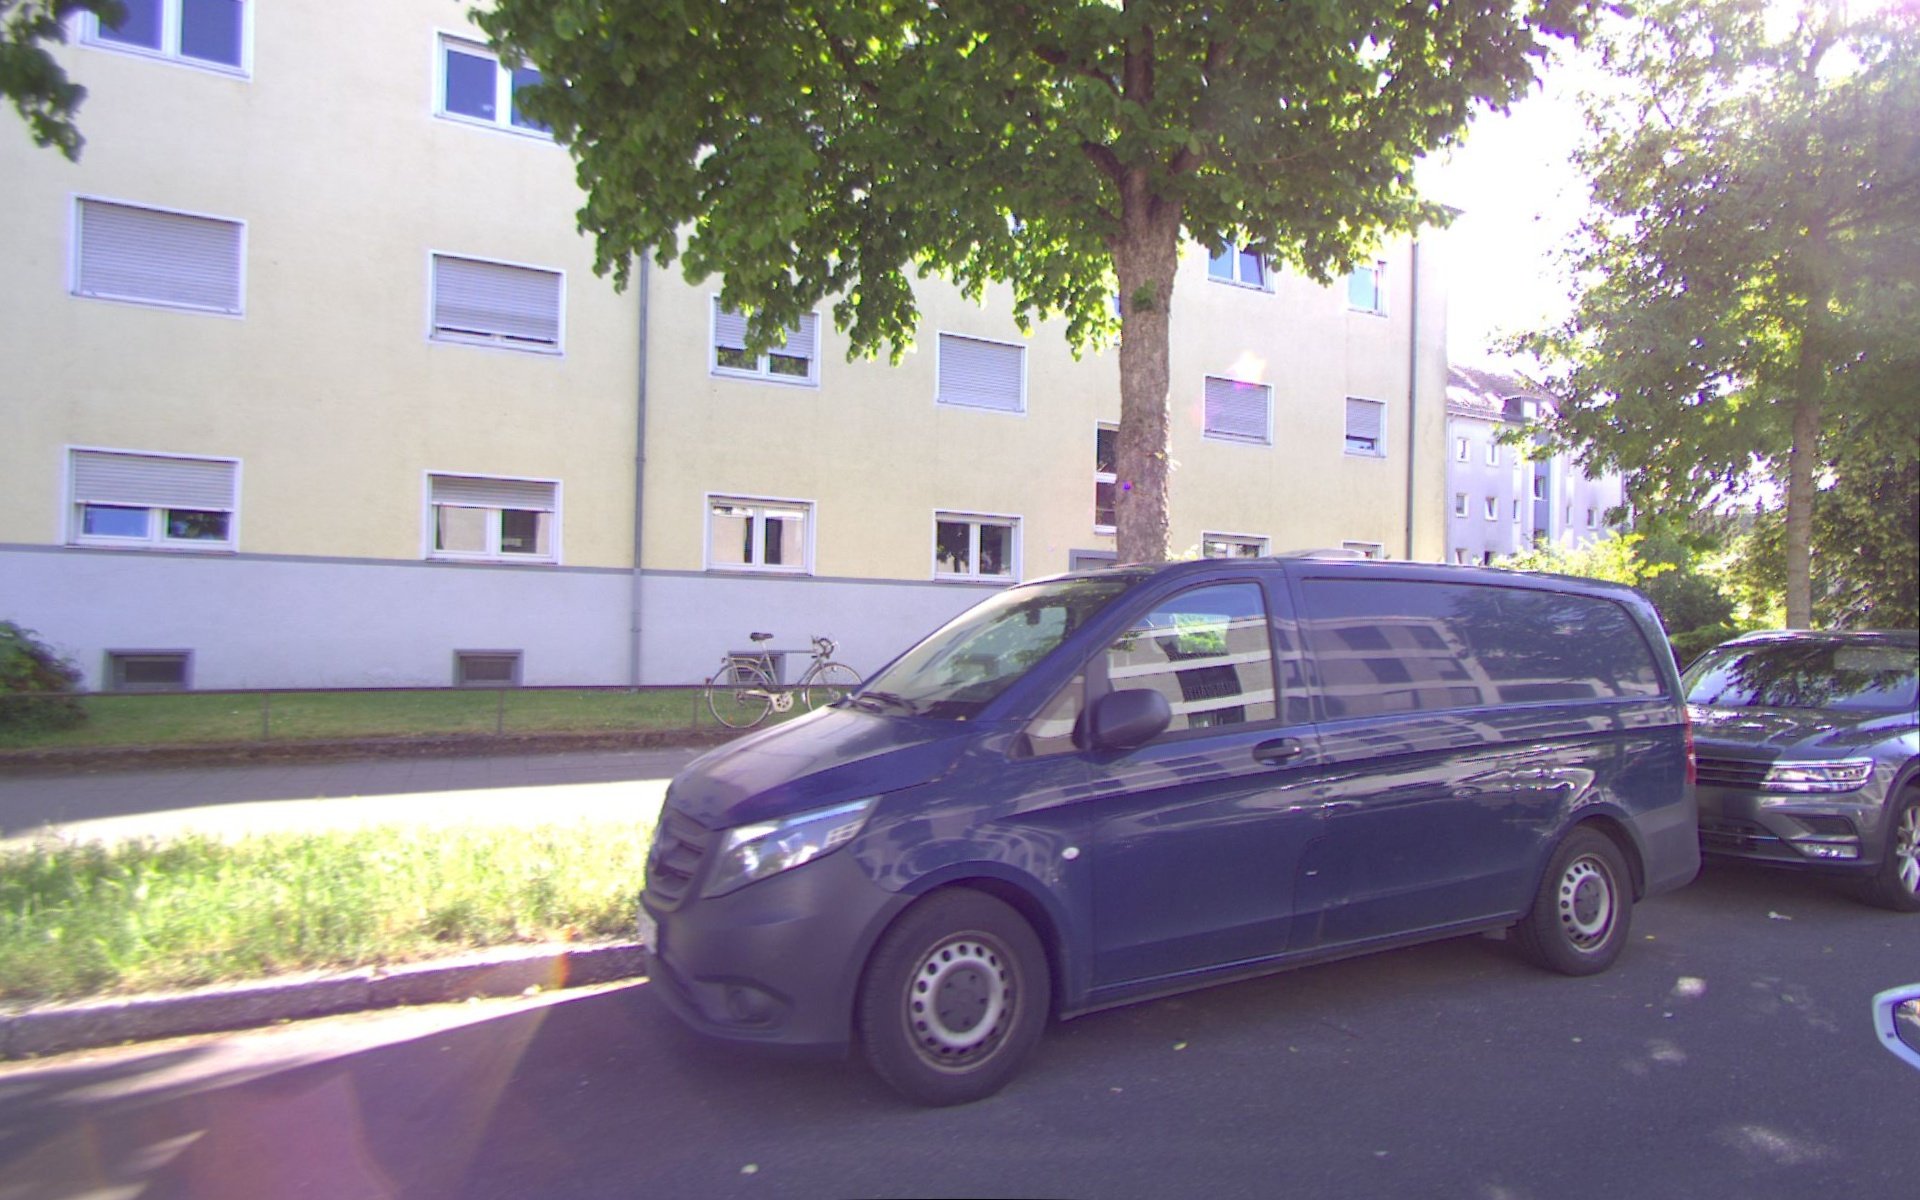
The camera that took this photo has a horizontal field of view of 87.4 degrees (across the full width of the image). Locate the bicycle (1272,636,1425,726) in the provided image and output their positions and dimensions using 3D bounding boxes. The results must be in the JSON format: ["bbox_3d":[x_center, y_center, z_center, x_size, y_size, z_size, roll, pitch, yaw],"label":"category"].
[{"bbox_3d":[5.793,1.170,15.096,0.683,1.224,2.131,2,-2,-35],"label":"bicycle"}]

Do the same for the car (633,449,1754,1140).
[{"bbox_3d":[1.228,0.647,4.719,5.071,1.929,1.822,2,-3,-25],"label":"car"}]

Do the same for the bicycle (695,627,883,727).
[{"bbox_3d":[-1.825,0.807,10.806,1.902,1.005,0.593,2,-2,-25],"label":"bicycle"}]

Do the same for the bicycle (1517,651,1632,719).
[{"bbox_3d":[9.606,1.313,15.699,1.902,1.005,0.593,2,-2,-25],"label":"bicycle"}]

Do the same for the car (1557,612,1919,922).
[{"bbox_3d":[6.224,0.971,7.012,4.176,1.632,1.606,2,-2,-28],"label":"car"}]
